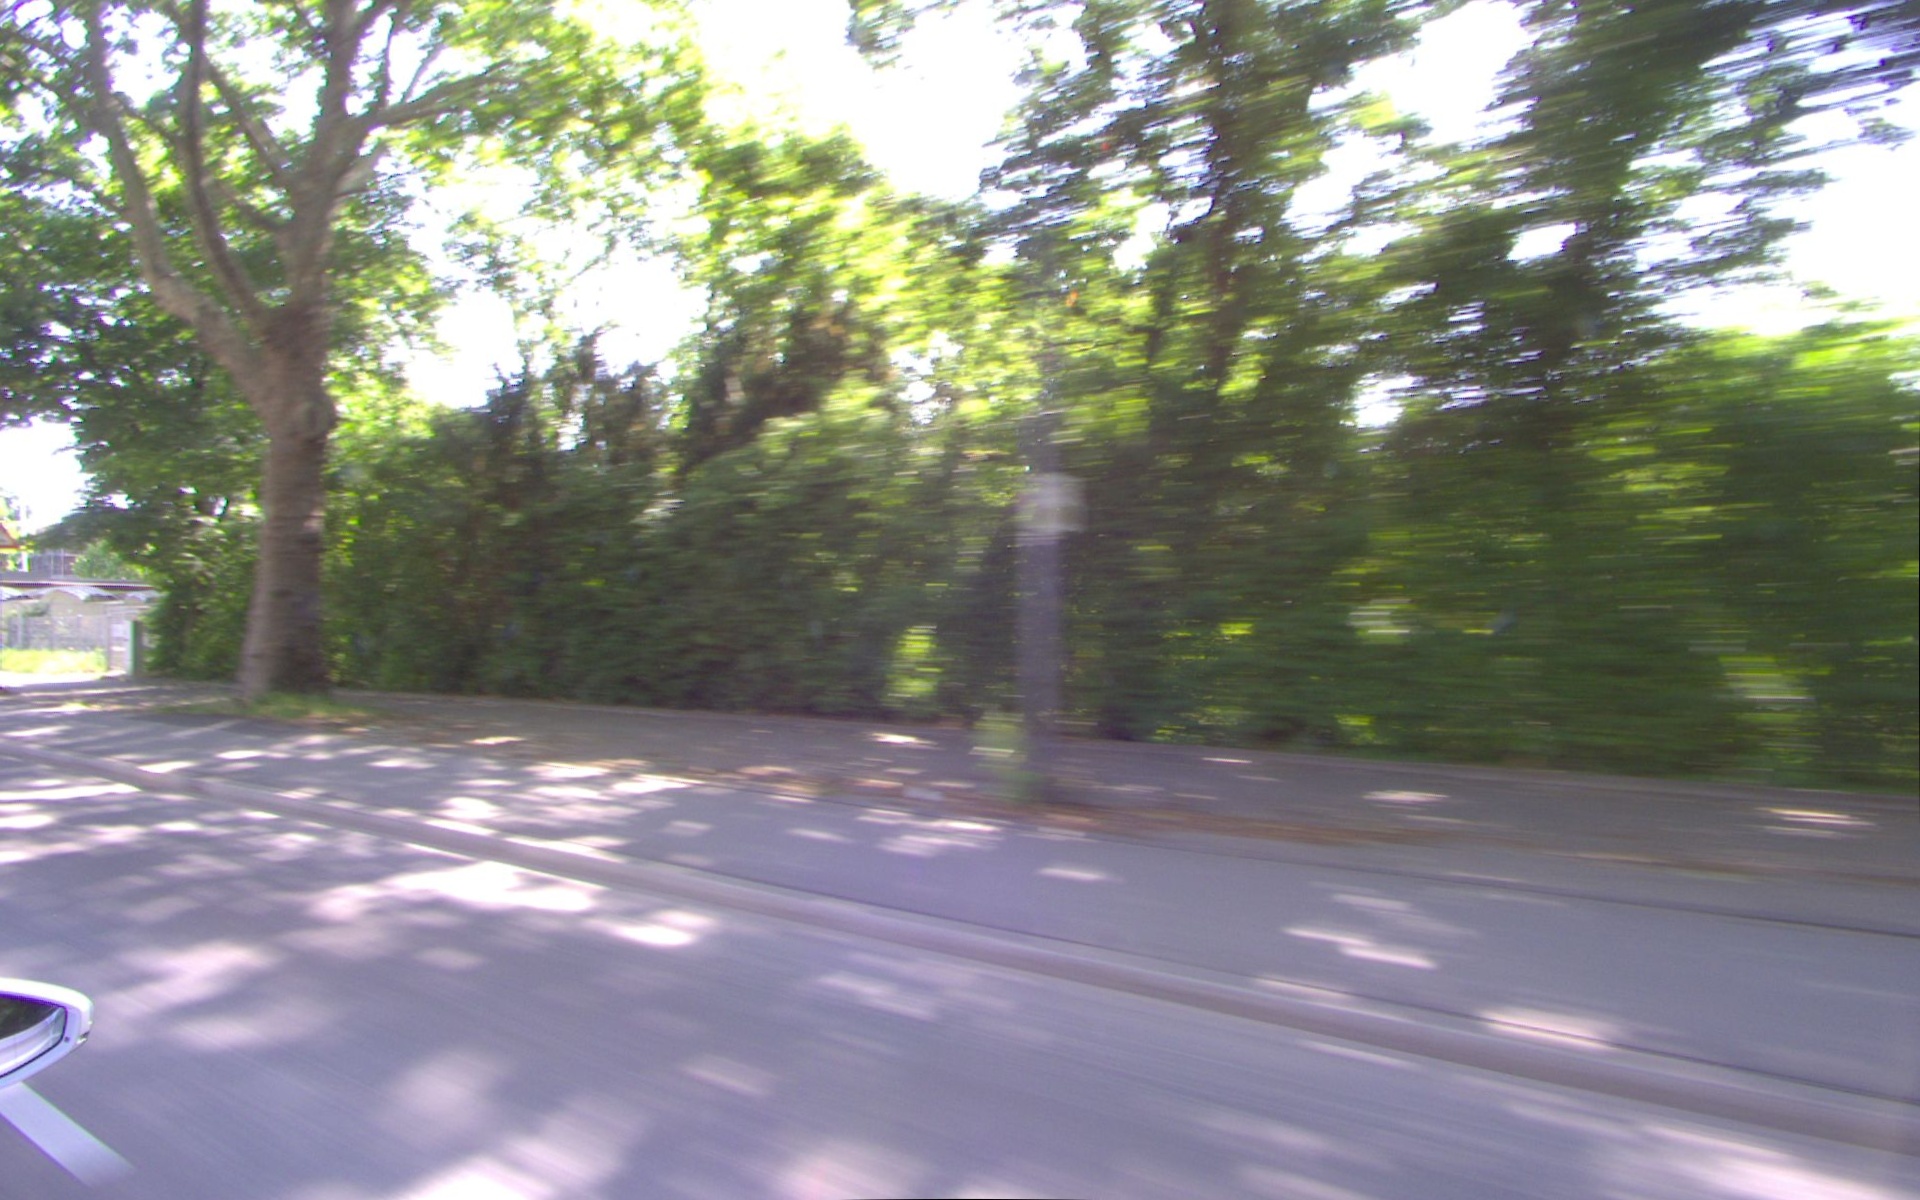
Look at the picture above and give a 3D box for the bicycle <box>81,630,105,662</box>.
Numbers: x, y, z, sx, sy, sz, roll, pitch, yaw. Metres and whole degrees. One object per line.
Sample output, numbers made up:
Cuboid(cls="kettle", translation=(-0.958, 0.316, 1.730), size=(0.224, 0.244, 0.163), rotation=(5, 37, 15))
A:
Cuboid(cls="bicycle", translation=(-33.088, 1.754, 38.227), size=(1.157, 1.195, 0.388), rotation=(-1, -1, 34))
